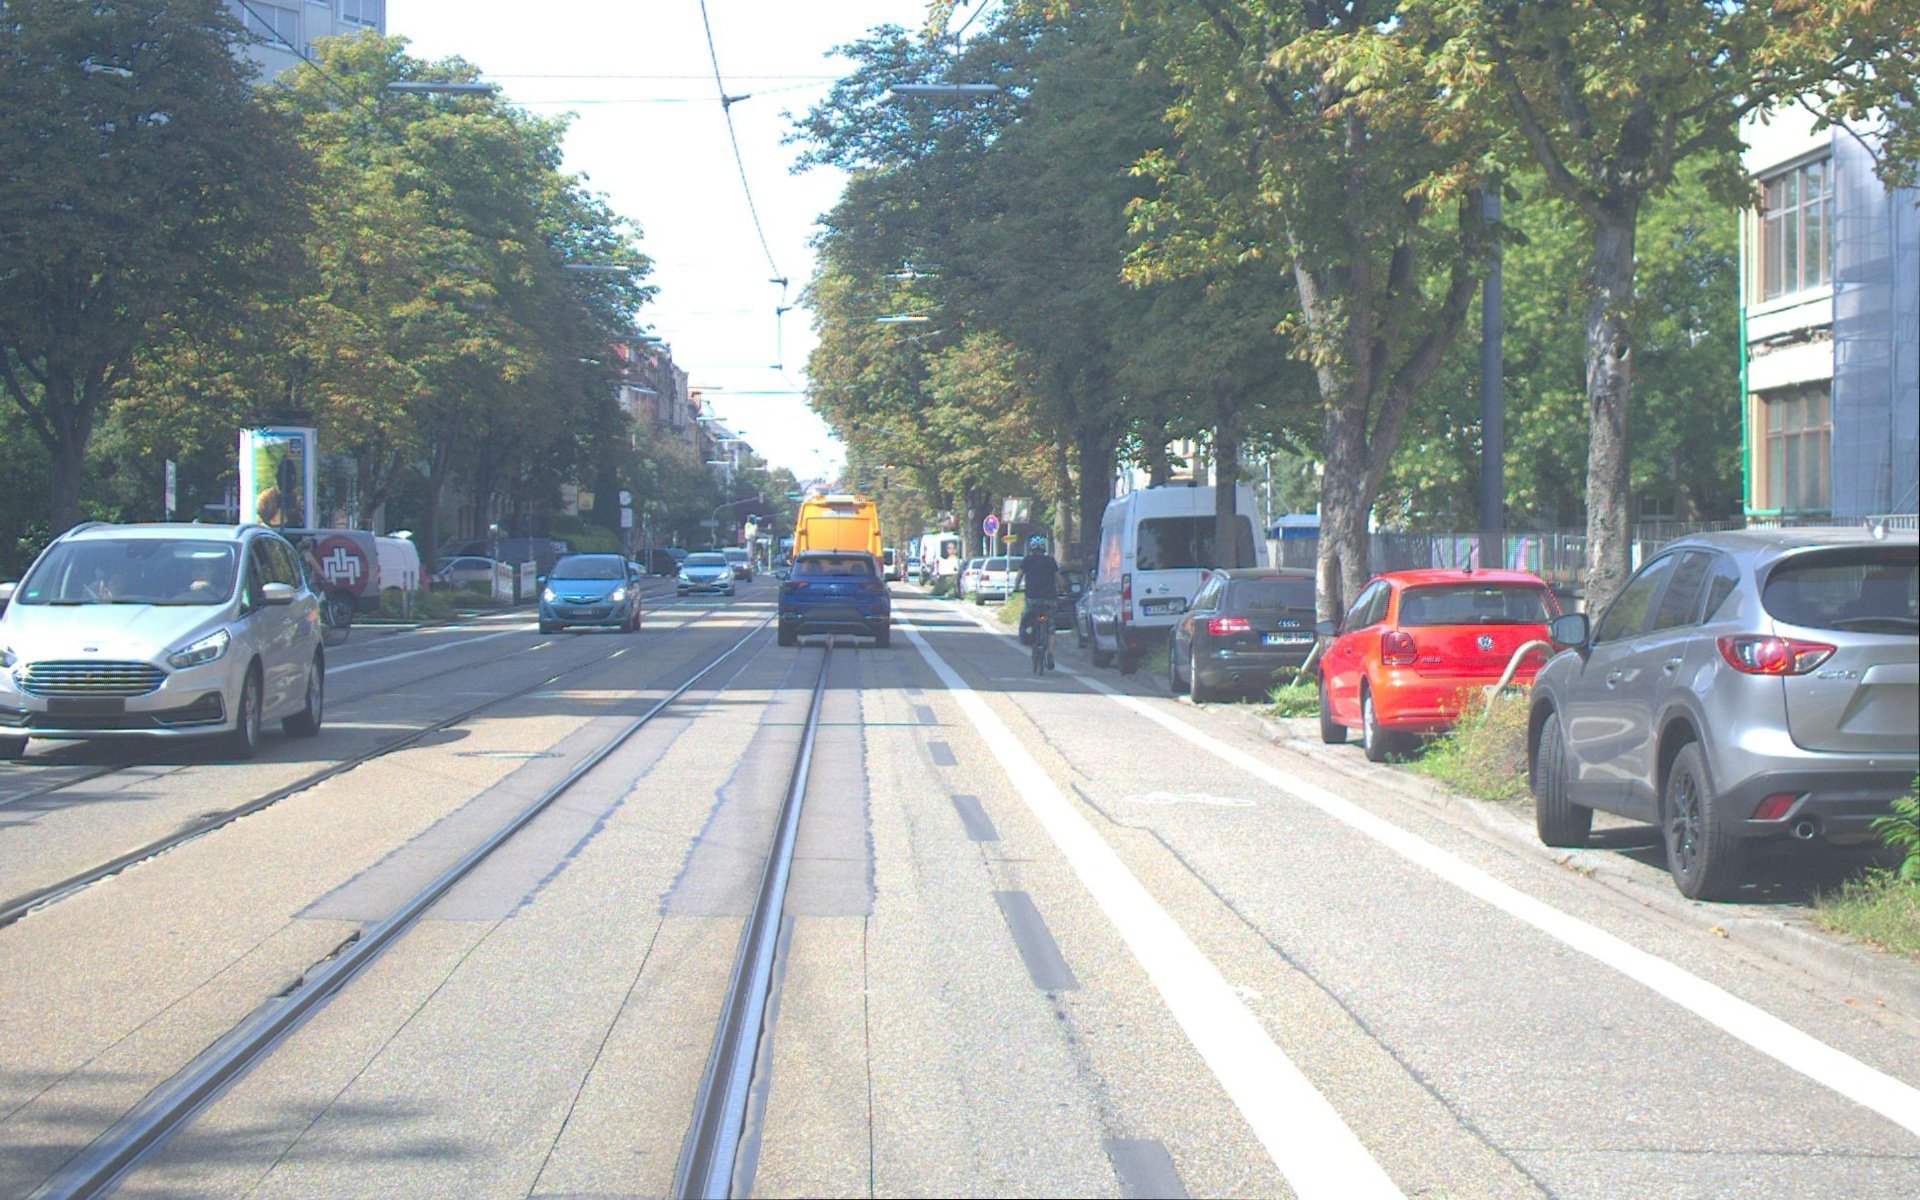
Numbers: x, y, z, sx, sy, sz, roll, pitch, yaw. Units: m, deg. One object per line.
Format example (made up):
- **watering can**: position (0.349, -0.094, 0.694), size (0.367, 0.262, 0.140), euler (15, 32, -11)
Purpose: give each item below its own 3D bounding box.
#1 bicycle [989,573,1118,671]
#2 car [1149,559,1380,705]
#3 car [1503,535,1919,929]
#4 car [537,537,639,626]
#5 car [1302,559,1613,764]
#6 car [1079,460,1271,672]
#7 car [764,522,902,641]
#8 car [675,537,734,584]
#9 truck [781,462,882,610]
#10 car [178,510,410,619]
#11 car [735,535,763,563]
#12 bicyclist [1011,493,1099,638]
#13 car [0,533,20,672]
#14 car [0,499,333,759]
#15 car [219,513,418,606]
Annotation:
- **bicycle**: position (1.156, 0.250, 43.825), size (1.401, 1.130, 4.000), euler (1, 1, -2)
- **car**: position (3.233, 0.306, 37.340), size (1.908, 1.427, 4.293), euler (1, 1, -3)
- **car**: position (3.984, 0.529, 16.829), size (1.740, 1.662, 4.362), euler (1, 1, -3)
- **car**: position (-6.937, -0.367, 64.382), size (1.633, 1.579, 4.189), euler (1, 1, -3)
- **car**: position (3.859, 0.432, 27.211), size (1.740, 1.457, 3.684), euler (1, 1, -3)
- **car**: position (2.916, -0.496, 47.917), size (1.993, 2.746, 5.762), euler (1, 1, -3)
- **car**: position (-2.047, -0.341, 56.243), size (2.135, 1.852, 5.569), euler (0, 1, -2)
- **car**: position (-8.733, -1.372, 117.699), size (1.898, 1.556, 4.123), euler (1, 1, -3)
- **truck**: position (-2.781, -1.403, 75.317), size (2.135, 3.113, 6.085), euler (0, 1, -2)
- **car**: position (-12.794, -0.674, 66.194), size (3.989, 2.007, 1.856), euler (0, 1, -44)
- **car**: position (-14.125, -3.425, 230.423), size (1.747, 1.790, 4.001), euler (1, 1, -3)
- **bicyclist**: position (1.203, -0.444, 43.795), size (1.031, 1.806, 1.016), euler (1, 1, -2)
- **car**: position (-13.008, -0.016, 38.373), size (4.568, 1.547, 2.000), euler (1, 1, -25)
- **car**: position (-5.722, 0.151, 24.765), size (1.780, 1.678, 4.348), euler (1, 1, -3)
- **car**: position (-14.308, -0.904, 76.832), size (3.989, 2.007, 1.856), euler (0, 1, -44)
